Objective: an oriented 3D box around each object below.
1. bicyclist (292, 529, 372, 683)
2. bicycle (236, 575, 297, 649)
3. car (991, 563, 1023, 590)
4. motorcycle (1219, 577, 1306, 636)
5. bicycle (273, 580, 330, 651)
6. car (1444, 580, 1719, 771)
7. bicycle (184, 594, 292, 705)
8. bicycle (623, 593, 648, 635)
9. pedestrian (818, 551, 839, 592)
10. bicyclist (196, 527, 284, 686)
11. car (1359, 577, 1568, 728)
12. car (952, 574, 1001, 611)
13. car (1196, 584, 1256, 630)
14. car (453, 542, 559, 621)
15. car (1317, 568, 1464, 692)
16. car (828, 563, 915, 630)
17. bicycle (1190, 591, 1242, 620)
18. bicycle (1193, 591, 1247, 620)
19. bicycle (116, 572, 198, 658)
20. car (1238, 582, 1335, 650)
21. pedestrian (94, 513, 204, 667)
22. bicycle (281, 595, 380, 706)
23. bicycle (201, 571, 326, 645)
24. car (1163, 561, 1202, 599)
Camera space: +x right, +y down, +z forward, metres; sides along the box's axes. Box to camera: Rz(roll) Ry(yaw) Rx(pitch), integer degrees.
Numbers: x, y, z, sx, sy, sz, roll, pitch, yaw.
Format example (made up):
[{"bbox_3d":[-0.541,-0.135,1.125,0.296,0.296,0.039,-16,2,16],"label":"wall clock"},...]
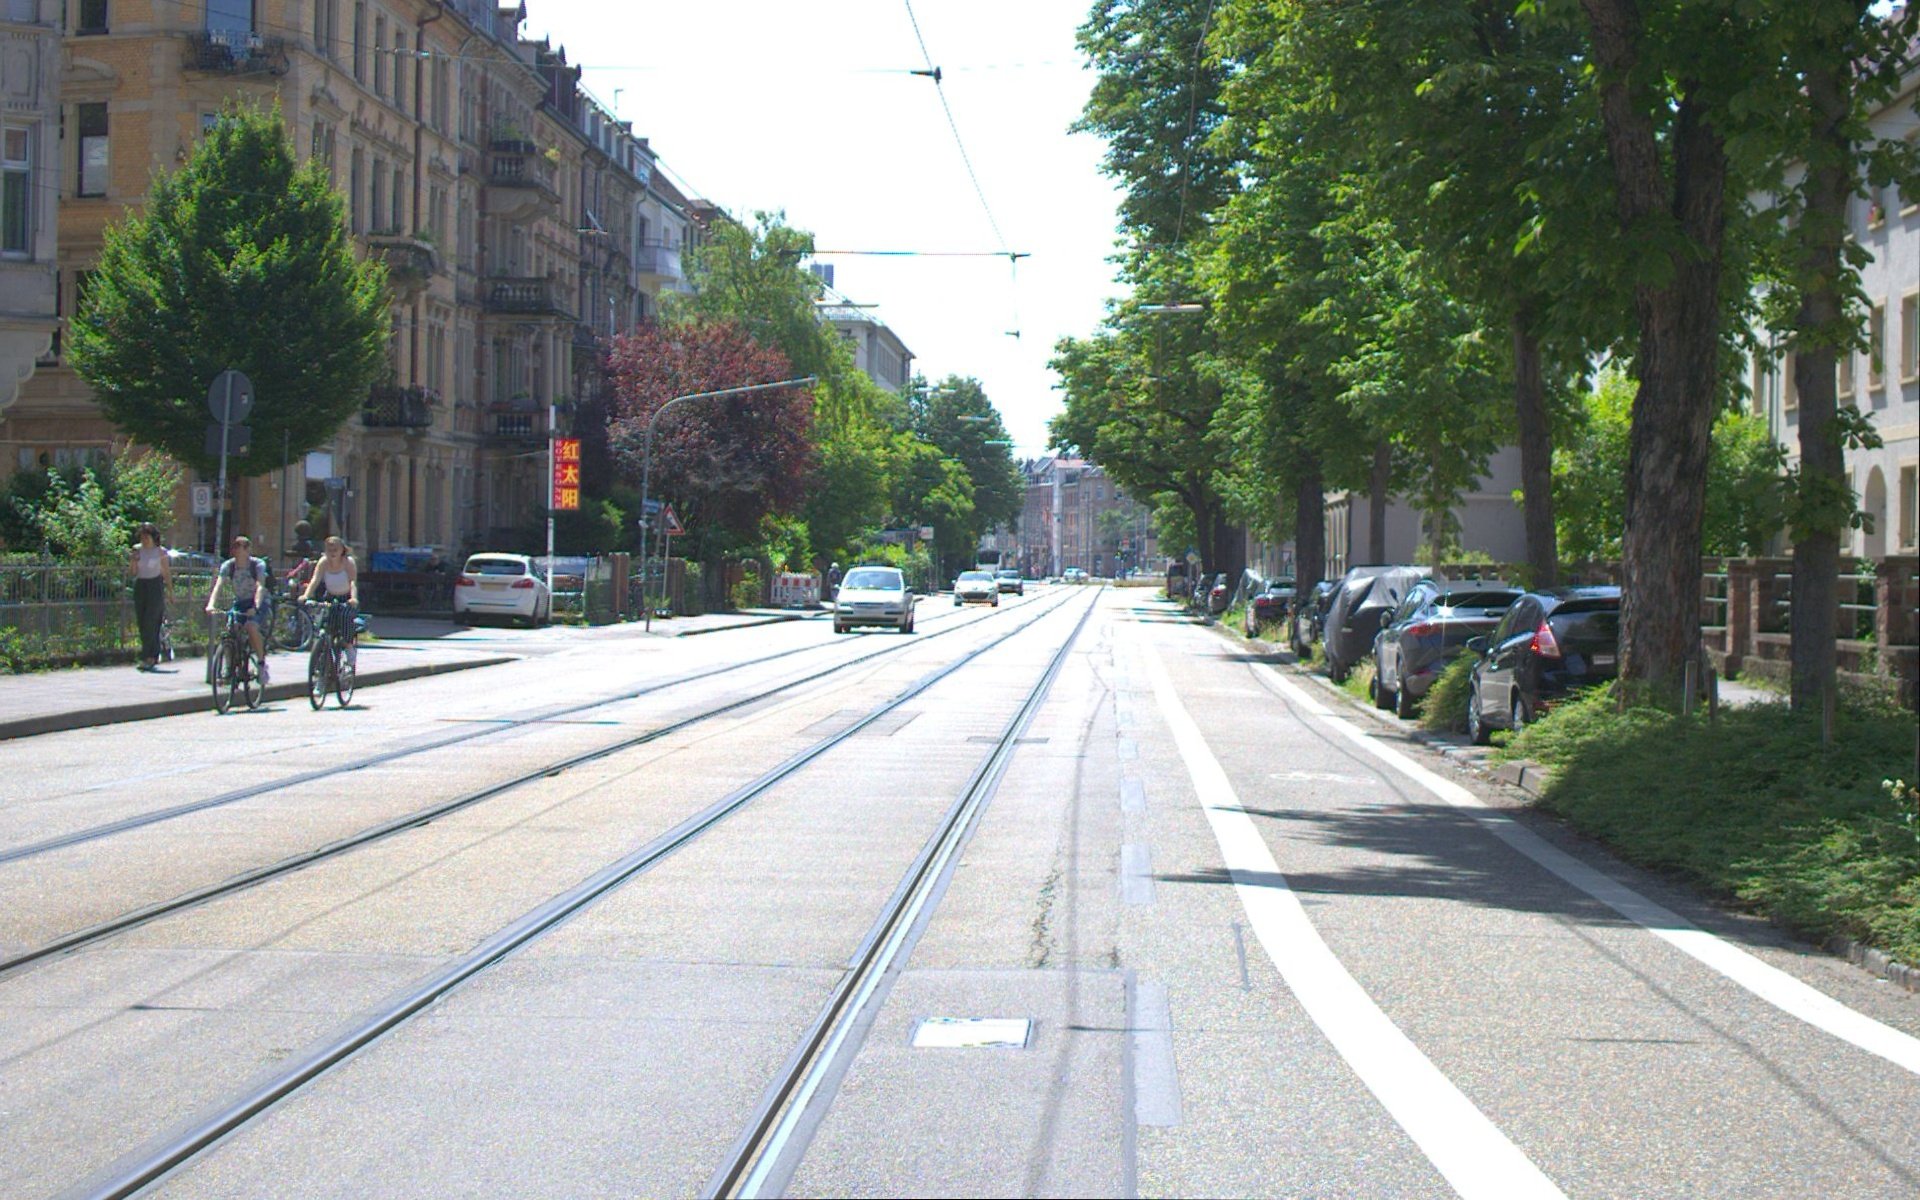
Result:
[{"bbox_3d":[-6.384,0.060,34.988,0.592,1.539,0.952,1,0,2],"label":"bicyclist"},{"bbox_3d":[-9.591,0.157,47.561,0.439,0.980,1.711,2,1,1],"label":"bicycle"},{"bbox_3d":[2.675,-1.307,194.989,1.686,1.449,3.748,2,0,2],"label":"car"},{"bbox_3d":[8.329,0.165,94.735,0.867,1.535,2.319,2,1,-44],"label":"motorcycle"},{"bbox_3d":[-9.492,0.220,49.601,0.439,0.980,1.711,2,1,1],"label":"bicycle"},{"bbox_3d":[5.442,0.618,30.539,1.656,1.510,4.000,2,1,0],"label":"car"},{"bbox_3d":[-7.306,0.487,34.849,0.629,1.074,1.875,1,0,2],"label":"bicycle"},{"bbox_3d":[-7.989,0.342,84.671,0.454,1.000,1.807,2,0,-1],"label":"bicycle"},{"bbox_3d":[-5.211,-1.126,136.015,0.750,1.623,0.833,2,0,-2],"label":"pedestrian"},{"bbox_3d":[-7.302,0.062,34.887,0.634,1.579,1.028,1,0,2],"label":"bicyclist"},{"bbox_3d":[5.664,0.548,39.139,1.732,1.546,4.453,2,1,1],"label":"car"},{"bbox_3d":[0.686,-0.311,137.945,1.756,1.419,4.000,1,0,3],"label":"car"},{"bbox_3d":[8.980,0.222,116.270,1.774,1.496,4.305,1,1,2],"label":"car"},{"bbox_3d":[-9.967,-0.406,75.701,1.865,1.594,4.102,3,0,-2],"label":"car"},{"bbox_3d":[6.195,0.391,49.907,1.948,1.645,4.879,2,1,6],"label":"car"},{"bbox_3d":[-1.979,-0.101,77.673,1.685,1.444,4.000,1,1,2],"label":"car"},{"bbox_3d":[9.708,0.217,130.221,1.890,1.048,0.538,2,0,10],"label":"bicycle"},{"bbox_3d":[9.878,0.218,130.705,1.964,1.059,0.598,2,0,10],"label":"bicycle"},{"bbox_3d":[-9.904,0.176,42.427,0.496,0.984,1.711,6,1,1],"label":"bicycle"},{"bbox_3d":[7.504,0.349,79.376,1.769,1.422,4.862,2,1,0],"label":"car"},{"bbox_3d":[-9.503,-0.117,40.322,0.851,1.717,1.138,5,1,3],"label":"pedestrian"},{"bbox_3d":[-6.388,0.501,34.976,0.581,1.074,1.890,1,0,2],"label":"bicycle"},{"bbox_3d":[-10.329,0.119,51.012,1.706,1.033,0.551,2,0,7],"label":"bicycle"},{"bbox_3d":[12.228,-1.121,189.228,1.993,2.028,4.696,2,1,3],"label":"car"}]
